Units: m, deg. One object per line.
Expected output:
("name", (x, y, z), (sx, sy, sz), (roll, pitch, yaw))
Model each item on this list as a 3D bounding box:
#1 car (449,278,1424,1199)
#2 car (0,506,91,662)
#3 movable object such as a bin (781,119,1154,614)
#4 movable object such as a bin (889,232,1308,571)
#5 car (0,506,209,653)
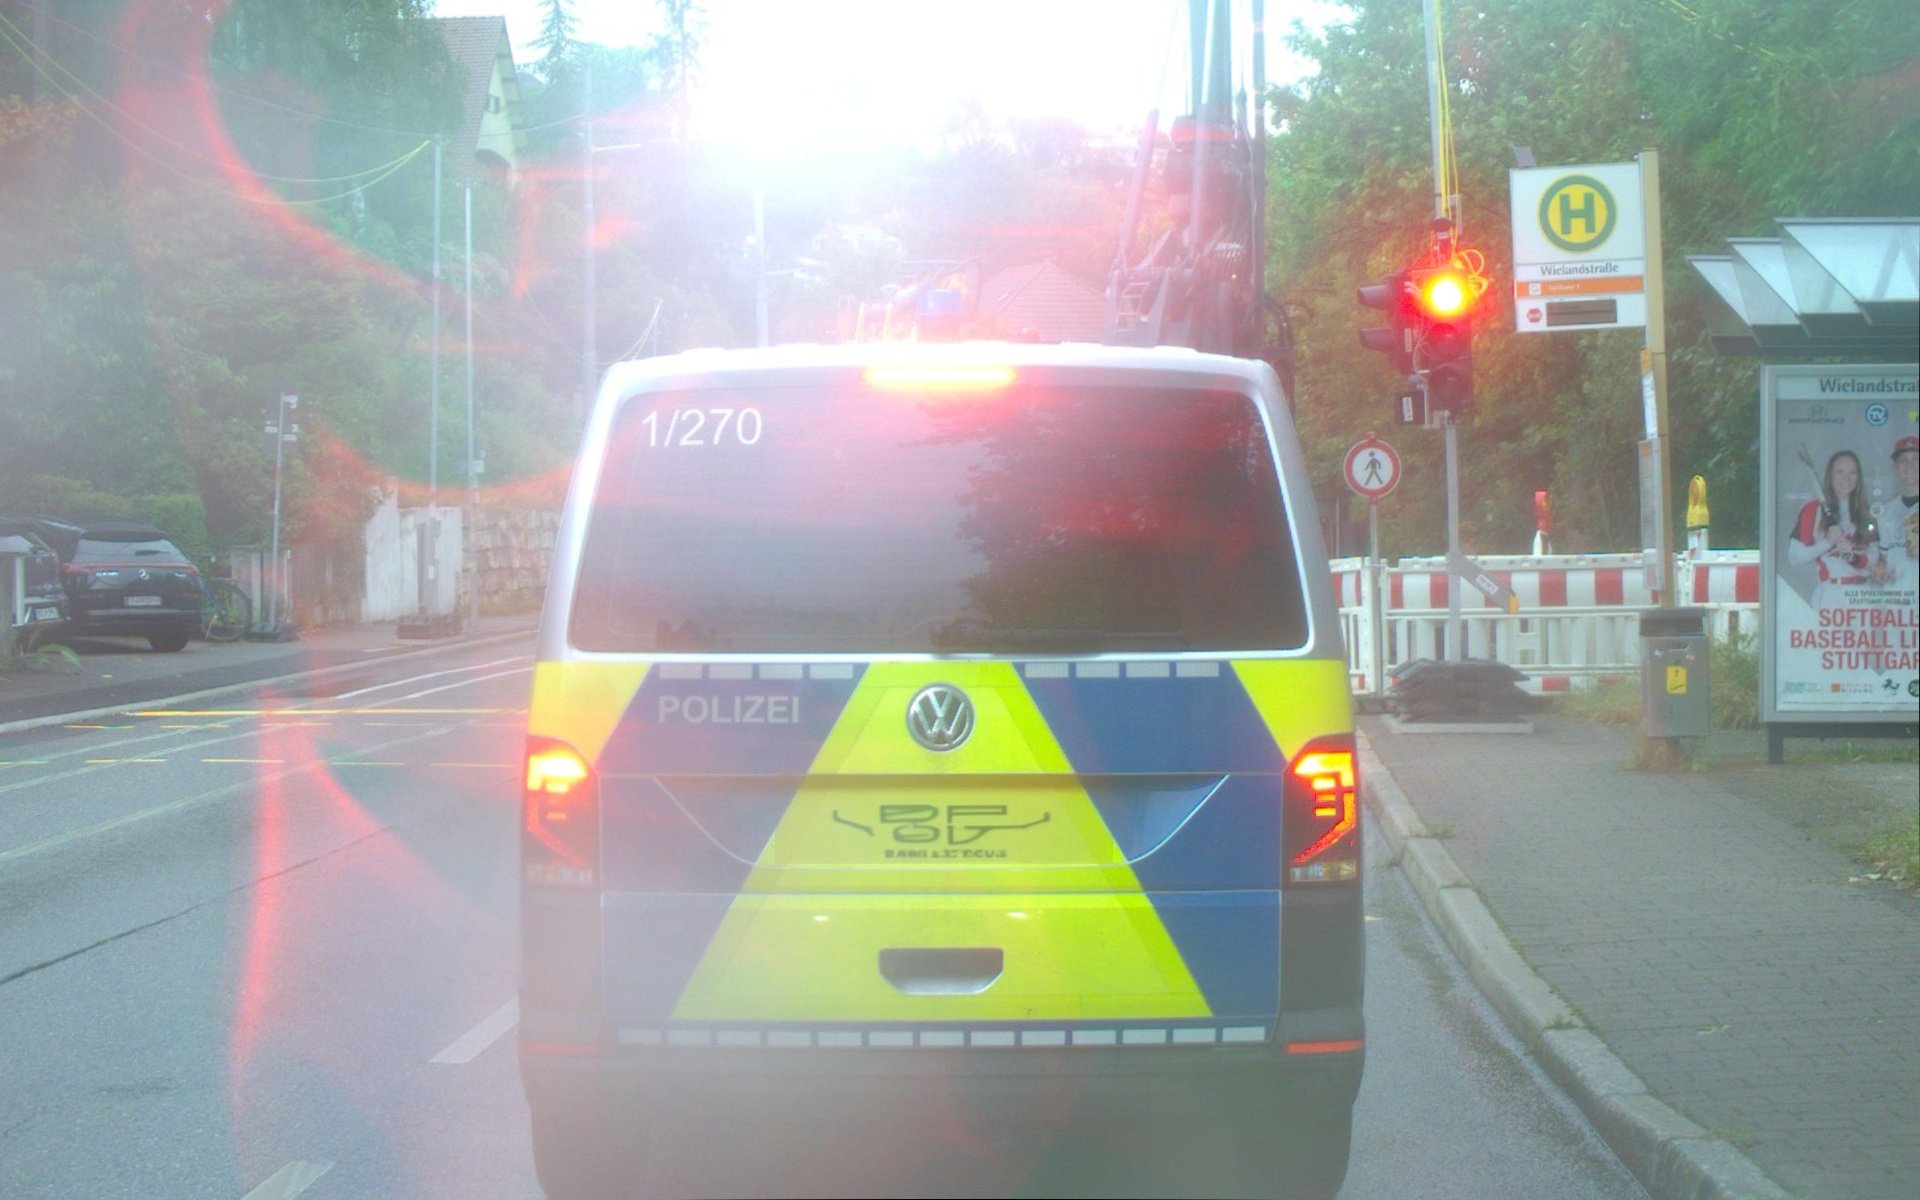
("car", (-0.073, 0.355, 9.038), (1.908, 2.003, 4.440), (1, 1, -1))
("car", (-11.106, -0.190, 34.863), (3.989, 1.520, 1.940), (1, 1, 13))
("movable object such as a bin", (0.187, -2.058, 31.567), (2.879, 4.156, 4.486), (-1, 2, 6))
("movable object such as a bin", (2.369, -3.058, 55.835), (3.689, 5.049, 7.150), (-1, 0, 32))
("car", (-9.988, -0.252, 37.740), (1.781, 1.520, 3.999), (0, 1, -39))
